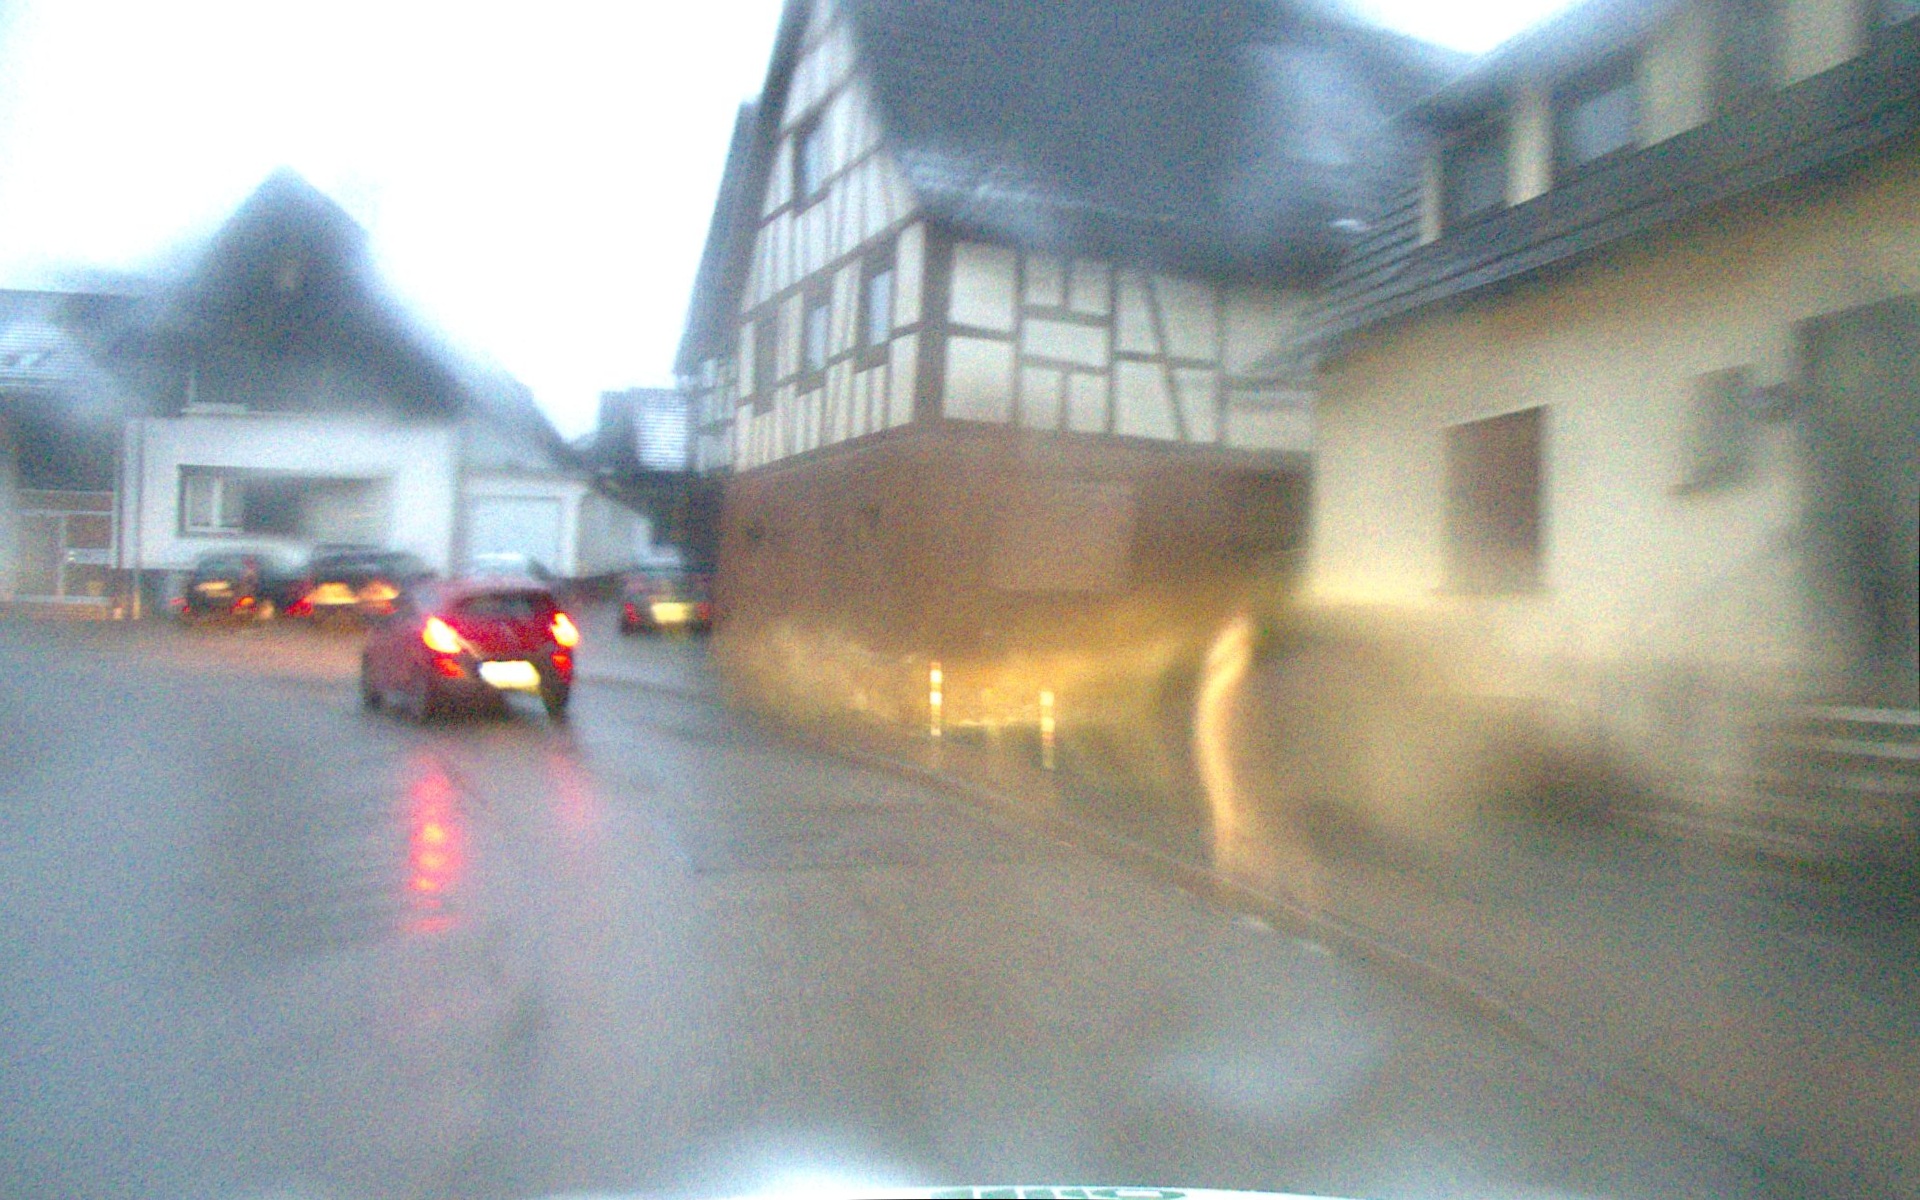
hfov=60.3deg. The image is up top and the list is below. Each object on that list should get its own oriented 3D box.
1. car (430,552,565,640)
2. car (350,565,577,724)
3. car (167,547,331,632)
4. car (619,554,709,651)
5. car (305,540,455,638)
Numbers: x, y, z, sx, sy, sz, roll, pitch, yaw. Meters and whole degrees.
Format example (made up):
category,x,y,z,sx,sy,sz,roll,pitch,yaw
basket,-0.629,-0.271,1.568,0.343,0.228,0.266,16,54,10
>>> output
category,x,y,z,sx,sy,sz,roll,pitch,yaw
car,-9.035,-0.132,32.593,1.774,1.445,4.036,0,4,-4
car,-5.418,0.424,17.785,1.529,1.491,3.663,3,0,-29
car,-14.355,-0.251,33.638,1.845,1.474,3.892,0,4,-4
car,-5.619,-0.012,31.291,1.564,1.541,3.976,0,4,-11
car,-11.632,-0.292,33.488,1.814,1.689,4.473,0,4,-5
